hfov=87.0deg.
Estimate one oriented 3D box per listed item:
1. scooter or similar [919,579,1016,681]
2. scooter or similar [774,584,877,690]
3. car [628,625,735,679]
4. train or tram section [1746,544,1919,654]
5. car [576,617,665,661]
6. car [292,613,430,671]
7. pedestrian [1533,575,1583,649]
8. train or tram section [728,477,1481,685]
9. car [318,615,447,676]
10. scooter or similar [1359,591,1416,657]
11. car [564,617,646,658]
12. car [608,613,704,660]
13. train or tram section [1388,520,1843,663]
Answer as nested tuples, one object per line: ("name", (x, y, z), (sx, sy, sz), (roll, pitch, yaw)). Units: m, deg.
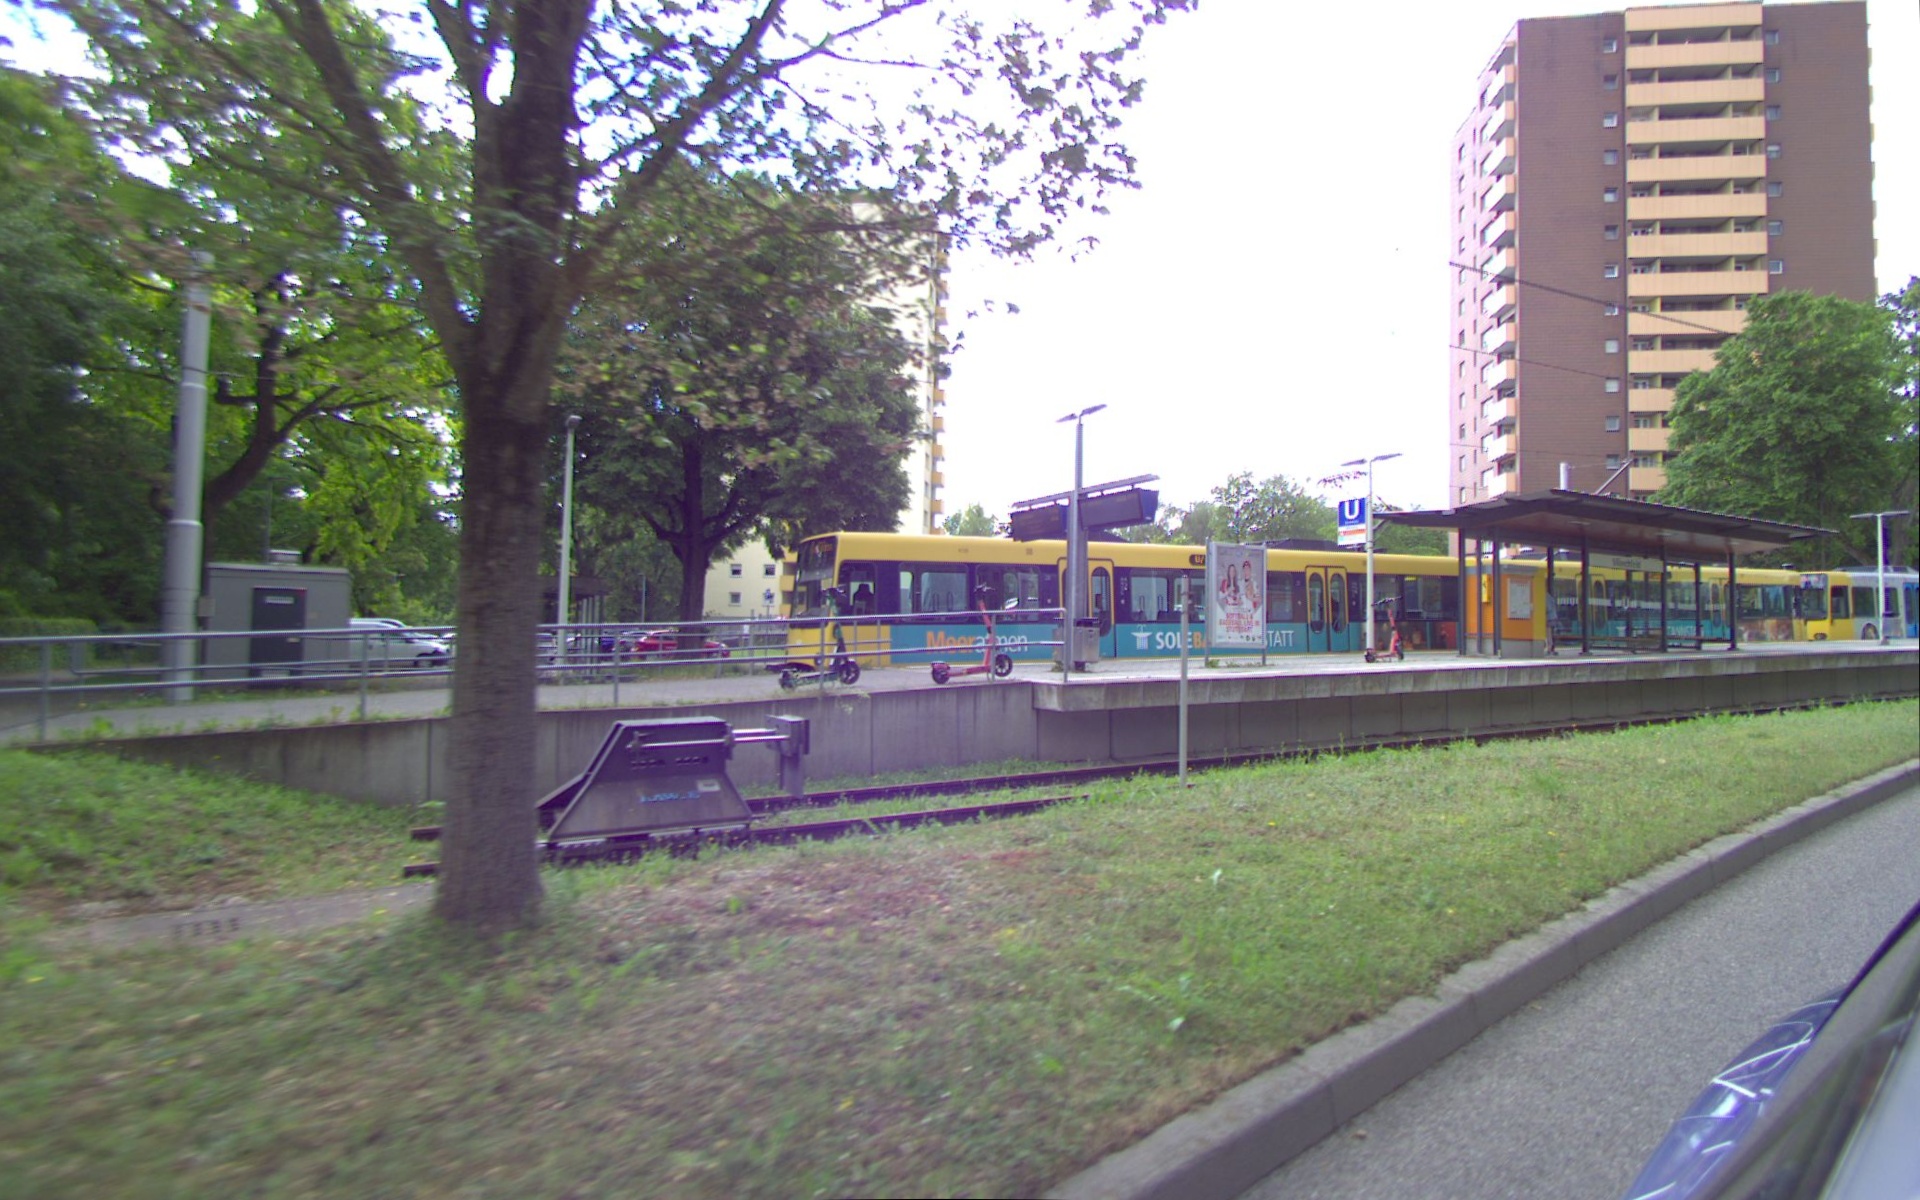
("scooter or similar", (0.112, 0.371, 13.230), (1.231, 1.269, 0.431), (-2, 0, -37))
("scooter or similar", (-1.694, 0.444, 12.807), (1.233, 1.269, 0.430), (-2, 0, -40))
("car", (-11.463, 2.088, 41.639), (3.918, 2.039, 1.907), (0, 0, -28))
("train or tram section", (38.760, 0.058, 40.382), (18.537, 3.849, 2.826), (0, -3, -23))
("car", (-16.777, 1.895, 49.965), (3.918, 2.039, 1.907), (0, 0, -28))
("car", (-22.597, 1.525, 38.398), (4.361, 2.039, 1.907), (0, 0, -28))
("pedestrian", (13.202, 0.264, 22.342), (0.651, 1.593, 0.625), (0, -2, -10))
("train or tram section", (4.483, -0.198, 23.327), (19.115, 3.636, 2.825), (1, -3, -28))
("car", (-20.729, 1.577, 36.513), (3.918, 2.039, 1.907), (0, 0, -28))
("scooter or similar", (8.303, 0.465, 19.638), (1.123, 1.258, 0.370), (1, -2, -28))
("car", (-18.960, 1.962, 54.078), (3.918, 2.039, 1.907), (0, 0, -28))
("car", (-13.816, 1.621, 46.001), (3.918, 2.039, 1.907), (0, 0, -28))
("train or tram section", (21.550, -0.090, 32.242), (19.113, 3.786, 2.825), (1, -3, -27))
